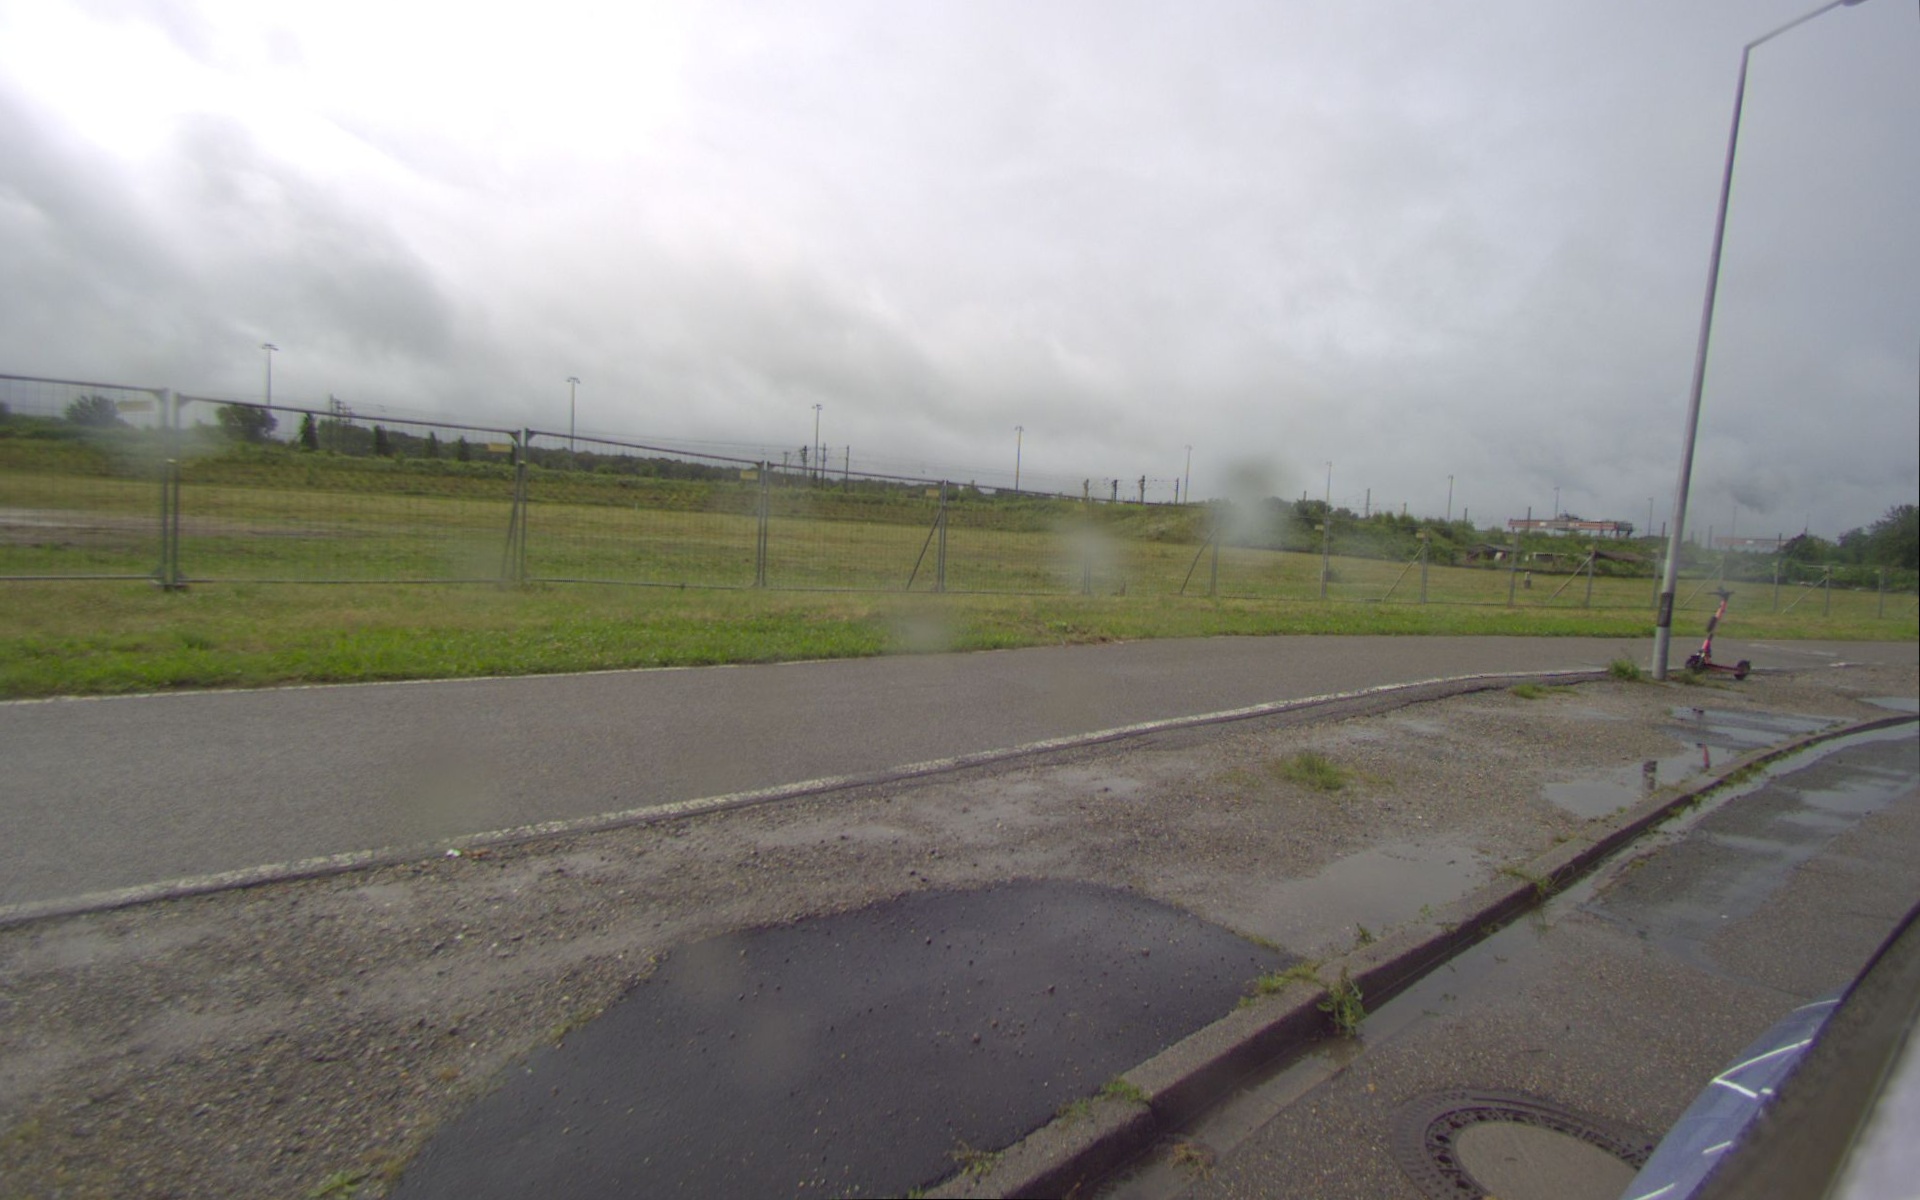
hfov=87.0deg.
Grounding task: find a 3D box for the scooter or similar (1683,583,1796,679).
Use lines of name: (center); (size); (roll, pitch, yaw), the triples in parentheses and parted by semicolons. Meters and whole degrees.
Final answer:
scooter or similar: (10.606, 0.425, 13.770); (1.312, 1.229, 0.494); (2, 4, -20)
